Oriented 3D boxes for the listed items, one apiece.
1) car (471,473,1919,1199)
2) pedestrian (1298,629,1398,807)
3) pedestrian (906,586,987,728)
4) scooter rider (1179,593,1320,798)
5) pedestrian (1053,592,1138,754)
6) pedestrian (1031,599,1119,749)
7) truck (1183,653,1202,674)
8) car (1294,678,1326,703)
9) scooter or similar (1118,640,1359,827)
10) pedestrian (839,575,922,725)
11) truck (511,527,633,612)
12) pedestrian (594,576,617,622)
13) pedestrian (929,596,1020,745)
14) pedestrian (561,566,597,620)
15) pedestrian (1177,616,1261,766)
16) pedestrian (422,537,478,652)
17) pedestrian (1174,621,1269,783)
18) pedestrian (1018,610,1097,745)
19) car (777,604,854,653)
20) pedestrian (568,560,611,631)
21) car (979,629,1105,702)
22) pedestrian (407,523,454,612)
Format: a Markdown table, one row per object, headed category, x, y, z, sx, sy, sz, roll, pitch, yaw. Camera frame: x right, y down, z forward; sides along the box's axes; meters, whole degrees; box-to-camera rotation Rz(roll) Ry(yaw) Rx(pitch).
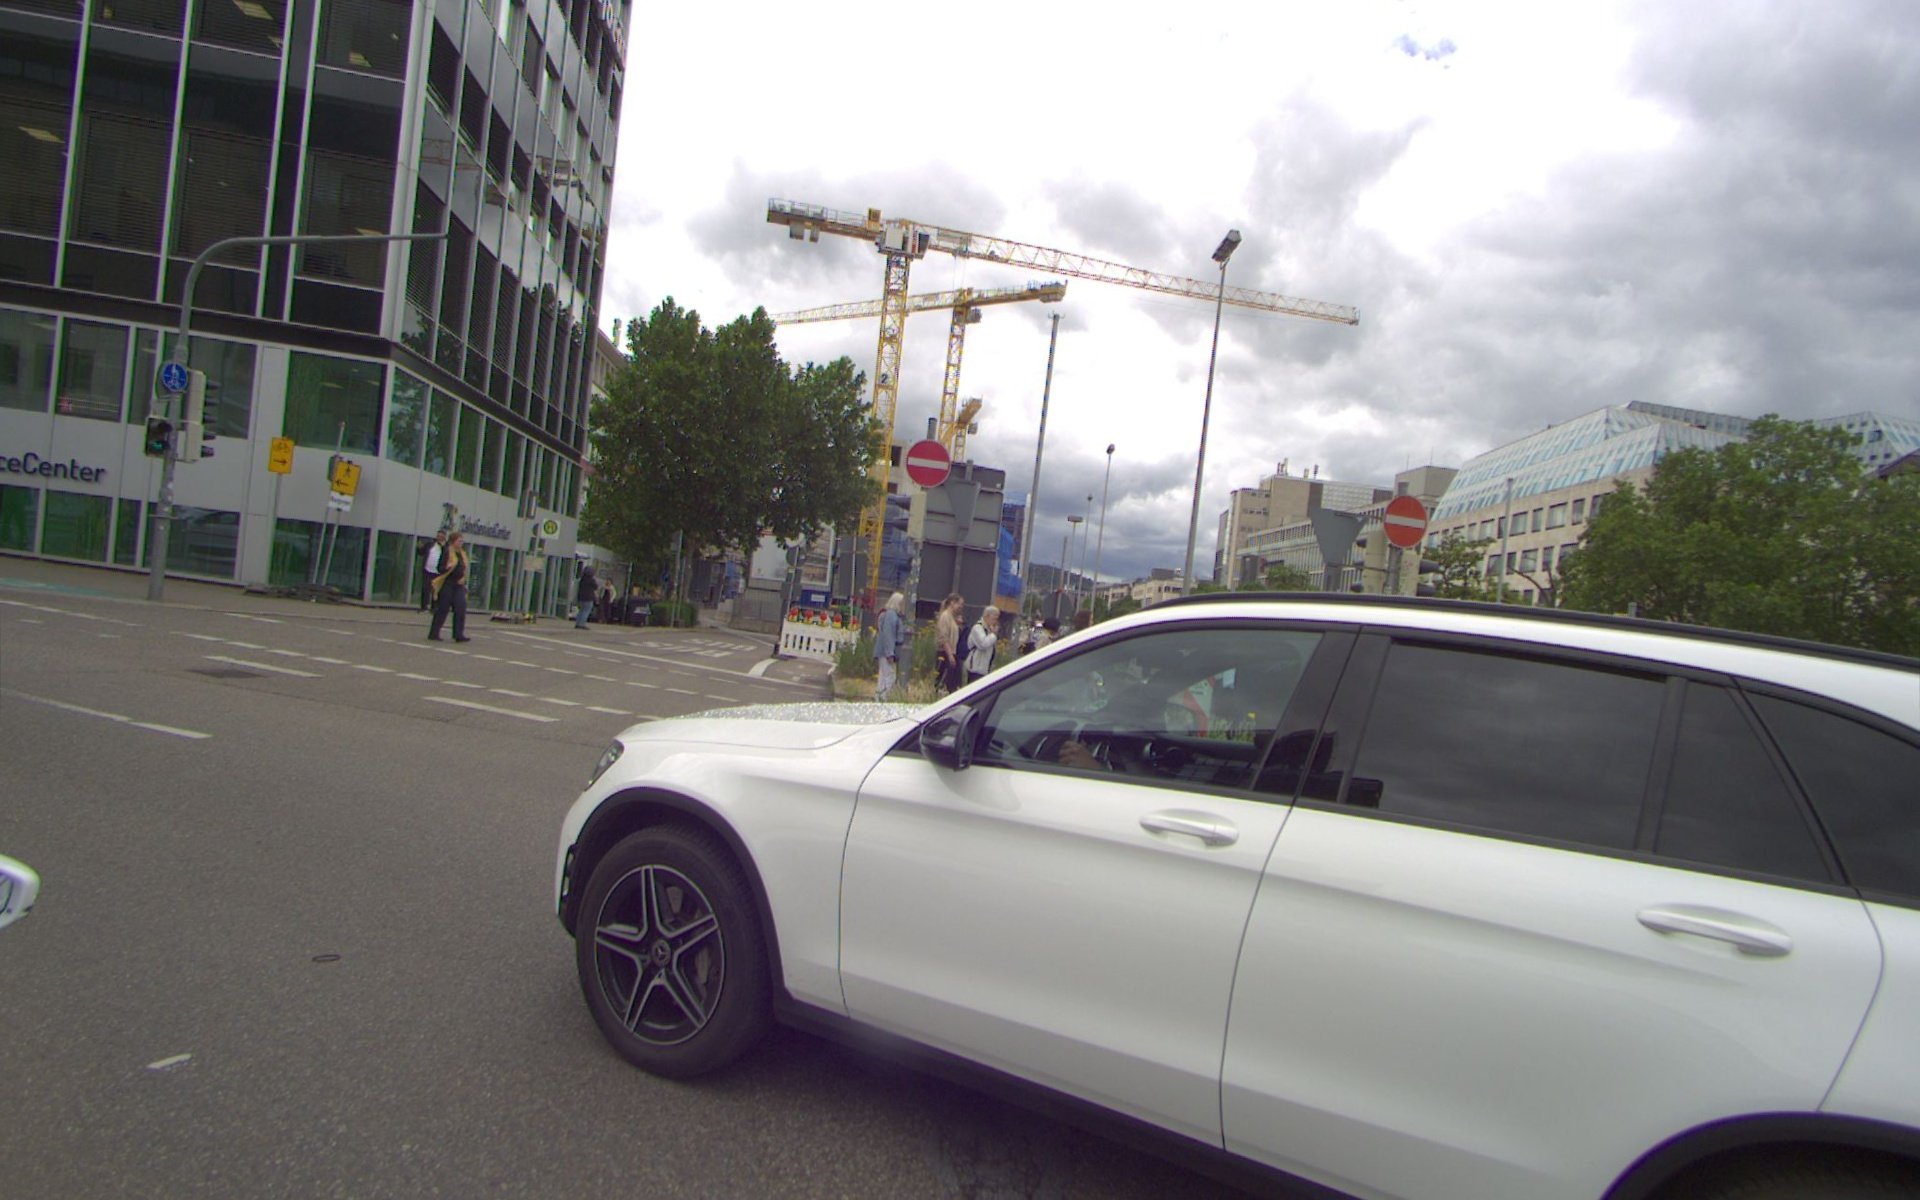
| category | x | y | z | sx | sy | sz | roll | pitch | yaw |
| --- | --- | --- | --- | --- | --- | --- | --- | --- | --- |
| car | 0.697 | 0.715 | 3.093 | 4.261 | 1.667 | 1.804 | 8 | 1 | 31 |
| pedestrian | 4.570 | 1.382 | 11.879 | 0.634 | 1.979 | 0.607 | 7 | 0 | -24 |
| pedestrian | -0.195 | 0.778 | 13.898 | 0.694 | 1.838 | 0.665 | 7 | 0 | -24 |
| scooter rider | 2.617 | 0.849 | 9.163 | 0.735 | 1.715 | 0.763 | 7 | 0 | -19 |
| pedestrian | 1.751 | 0.940 | 13.048 | 0.635 | 1.989 | 0.606 | 7 | 0 | -27 |
| pedestrian | 1.394 | 0.890 | 12.275 | 0.635 | 1.716 | 0.606 | 7 | 0 | -27 |
| truck | 32.879 | 8.974 | 142.398 | 1.962 | 2.483 | 4.000 | 8 | 1 | 7 |
| car | 32.218 | 8.307 | 92.699 | 1.962 | 1.655 | 4.000 | 8 | 1 | 10 |
| scooter or similar | 2.524 | 1.211 | 9.143 | 1.861 | 1.424 | 0.773 | 8 | 0 | -20 |
| pedestrian | -1.070 | 0.663 | 13.445 | 0.694 | 1.885 | 0.665 | 7 | 0 | -24 |
| truck | -16.865 | -1.178 | 44.413 | 2.303 | 3.100 | 8.197 | 7 | -1 | -3 |
| pedestrian | -12.457 | -0.035 | 35.388 | 0.509 | 1.553 | 0.552 | 7 | 1 | -11 |
| pedestrian | 0.177 | 0.893 | 12.896 | 0.754 | 1.783 | 0.665 | 7 | 0 | -24 |
| pedestrian | -13.333 | -0.262 | 35.202 | 0.860 | 1.768 | 0.845 | 7 | 1 | -12 |
| pedestrian | 3.530 | 1.231 | 13.732 | 0.635 | 1.933 | 0.606 | 7 | 0 | -27 |
| pedestrian | -8.013 | -0.096 | 15.836 | 0.540 | 1.719 | 0.798 | 7 | 1 | -21 |
| pedestrian | 3.120 | 1.208 | 12.023 | 0.635 | 1.819 | 0.606 | 7 | 0 | -27 |
| pedestrian | 1.317 | 1.036 | 13.607 | 0.635 | 1.716 | 0.606 | 7 | 0 | -27 |
| car | -6.234 | 1.175 | 43.080 | 1.976 | 1.598 | 3.973 | 7 | 0 | -26 |
| pedestrian | -9.420 | -0.107 | 25.592 | 0.625 | 1.699 | 0.591 | 8 | 1 | 12 |
| car | 2.178 | 1.767 | 27.880 | 1.813 | 1.484 | 3.981 | 7 | -1 | -21 |
| pedestrian | -11.145 | -0.689 | 21.187 | 0.628 | 1.770 | 0.588 | 7 | 1 | -20 |
